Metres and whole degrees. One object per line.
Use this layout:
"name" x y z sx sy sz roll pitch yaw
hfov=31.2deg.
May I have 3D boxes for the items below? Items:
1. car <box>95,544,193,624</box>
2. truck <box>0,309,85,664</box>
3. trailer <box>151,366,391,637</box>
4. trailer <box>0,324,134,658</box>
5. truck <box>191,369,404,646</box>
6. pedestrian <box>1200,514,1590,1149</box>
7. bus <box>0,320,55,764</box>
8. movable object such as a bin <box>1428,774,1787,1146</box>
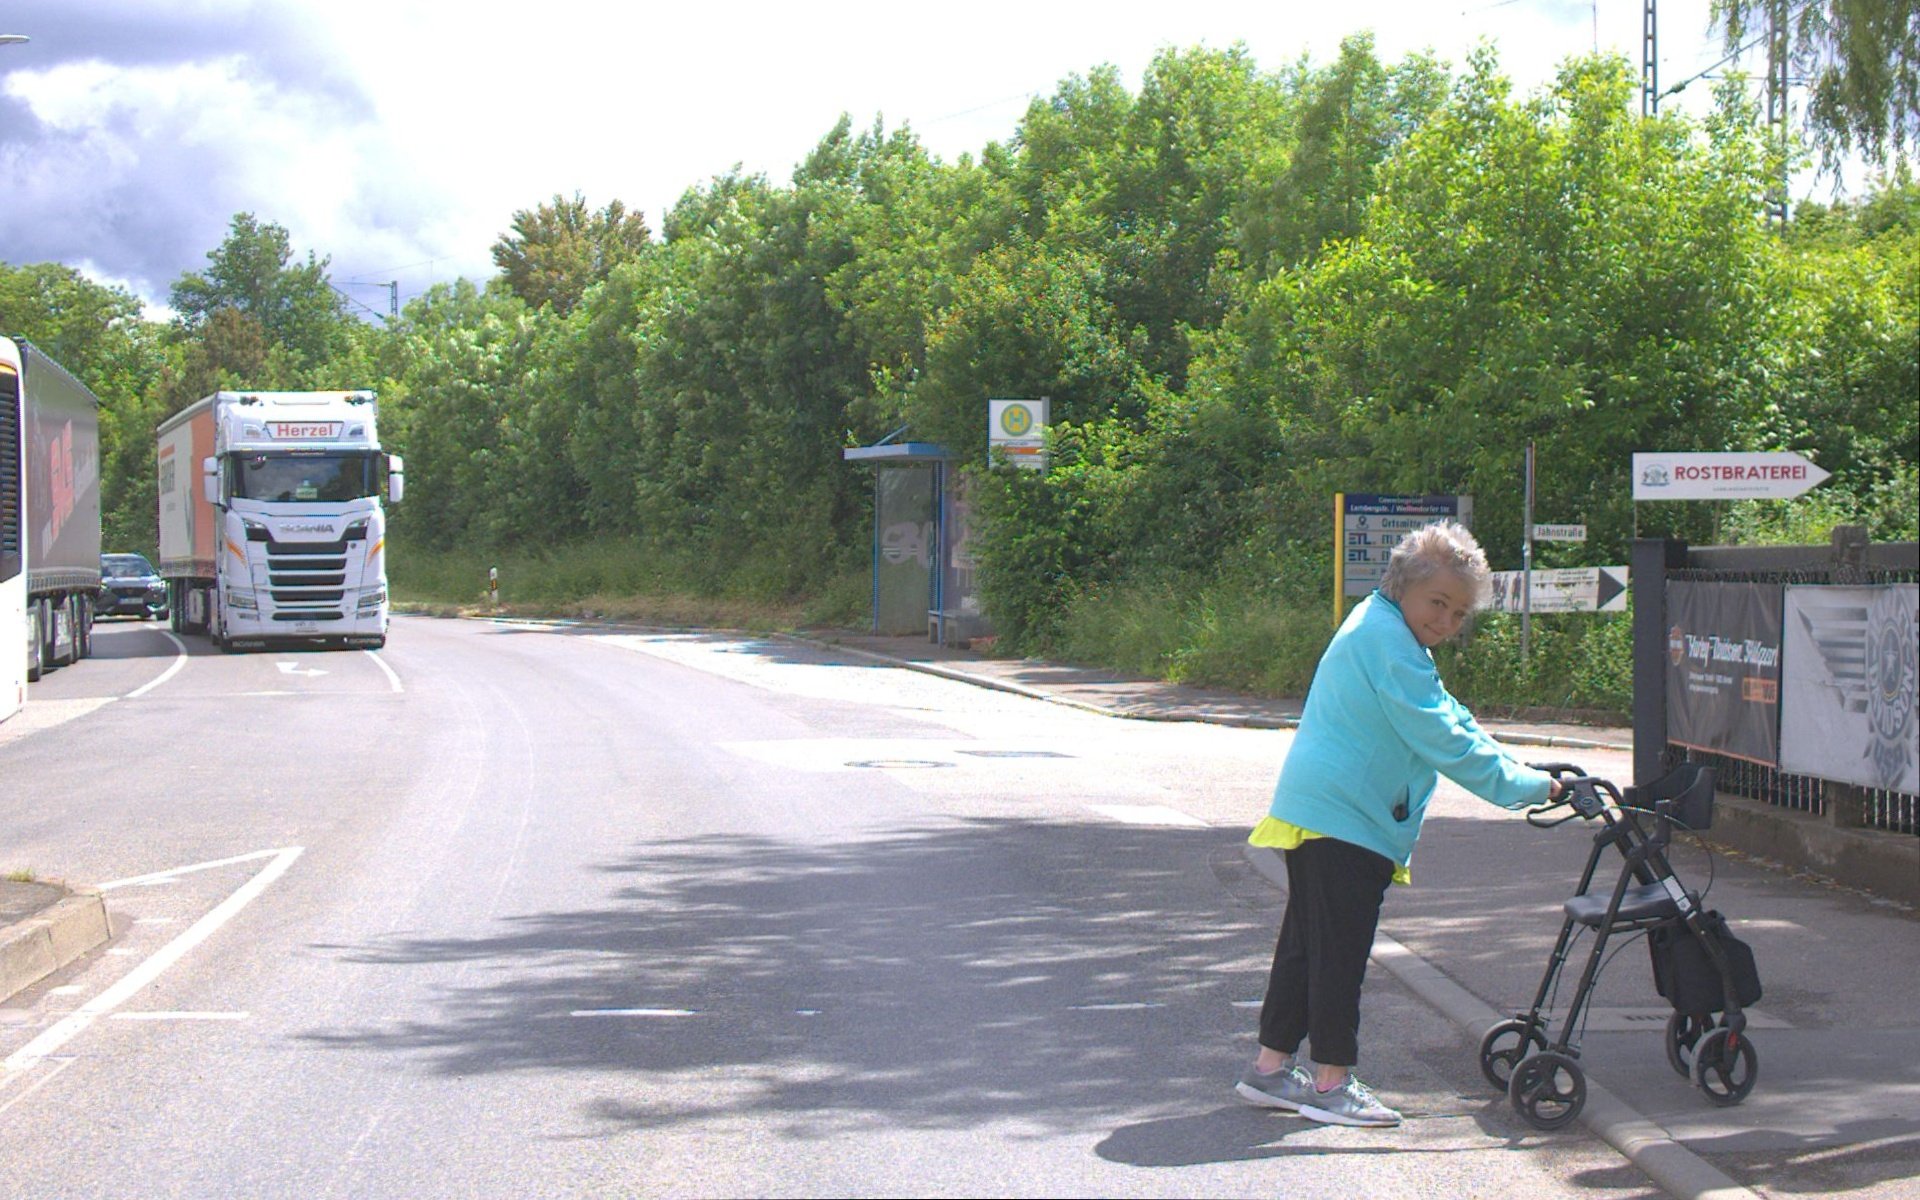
"car" -18.150 -0.369 76.337 1.993 1.700 4.001 1 1 -15
"truck" -12.424 -1.341 42.118 2.798 4.039 6.503 1 1 -10
"trailer" -12.340 -1.608 60.395 2.770 4.130 15.356 1 1 -16
"trailer" -13.717 -1.430 49.157 2.798 4.039 15.560 1 1 -10
"truck" -10.472 -1.411 54.021 2.770 4.105 4.988 1 1 -16
"pedestrian" 1.086 0.563 8.730 0.838 1.538 0.734 1 0 -4
"bus" -7.832 -0.340 18.672 2.718 3.020 12.266 0 1 -1
"movable object such as a bin" 1.635 0.902 8.773 0.746 0.868 0.671 1 0 -4
